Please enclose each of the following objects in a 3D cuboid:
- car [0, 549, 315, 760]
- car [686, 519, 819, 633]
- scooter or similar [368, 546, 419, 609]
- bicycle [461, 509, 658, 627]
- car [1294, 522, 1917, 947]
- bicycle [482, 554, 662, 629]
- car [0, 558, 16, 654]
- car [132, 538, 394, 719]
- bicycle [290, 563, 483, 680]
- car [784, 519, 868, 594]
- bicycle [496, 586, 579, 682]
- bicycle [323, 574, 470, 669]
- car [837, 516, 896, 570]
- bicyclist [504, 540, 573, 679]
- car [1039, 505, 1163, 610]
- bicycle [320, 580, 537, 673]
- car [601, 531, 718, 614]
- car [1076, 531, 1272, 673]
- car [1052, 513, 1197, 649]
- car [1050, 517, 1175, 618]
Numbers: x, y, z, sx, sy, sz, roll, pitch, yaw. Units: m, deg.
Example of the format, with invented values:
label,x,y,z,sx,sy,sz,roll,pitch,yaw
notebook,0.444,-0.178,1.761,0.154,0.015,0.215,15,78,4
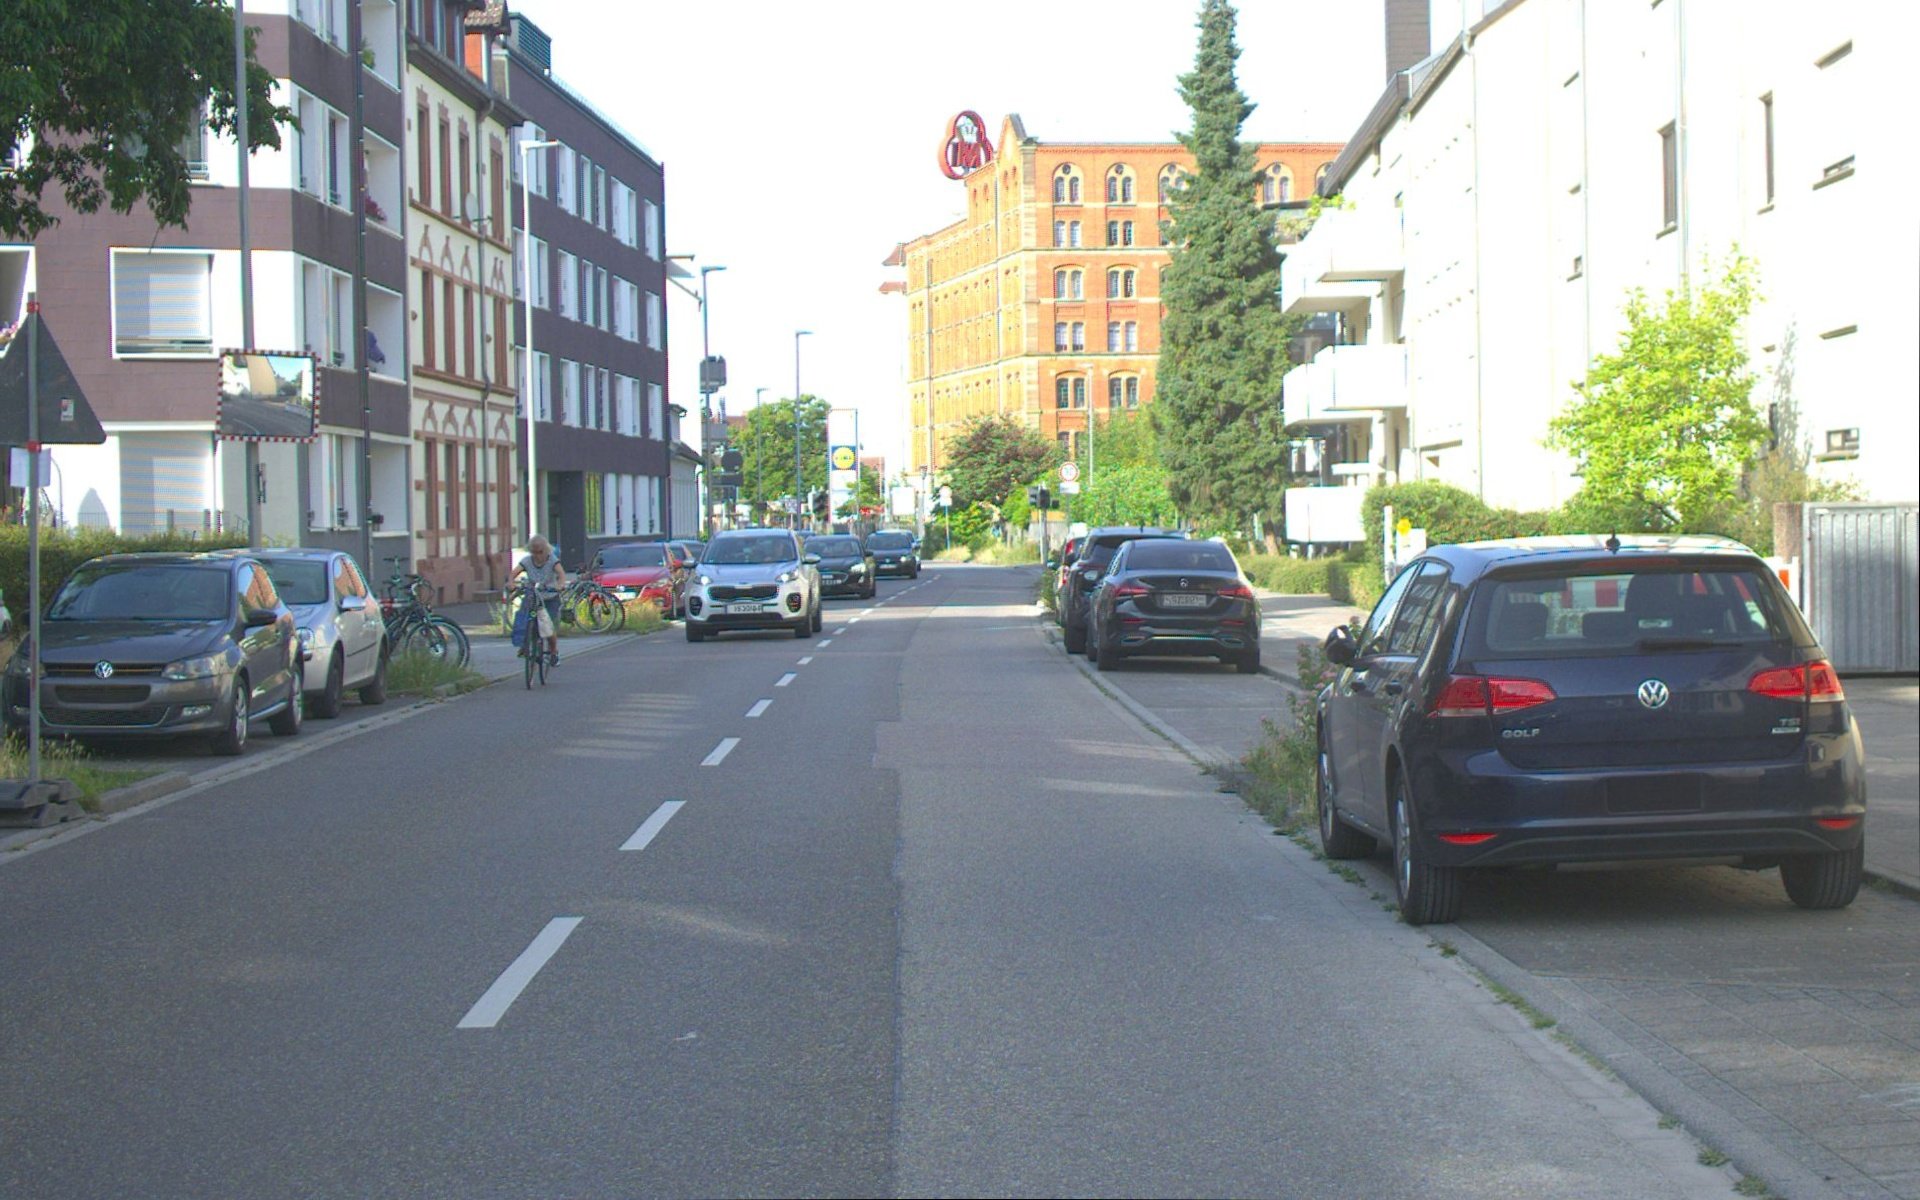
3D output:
label,x,y,z,sx,sy,sz,roll,pitch,yaw
car,-5.916,0.345,25.590,1.573,1.415,3.804,0,1,-1
car,-3.094,-0.393,51.863,1.763,1.610,4.000,-2,1,-1
scooter or similar,-10.190,-0.417,61.908,0.633,1.100,1.610,1,1,0
bicycle,-6.293,-0.506,54.164,2.918,1.771,1.202,-1,1,1
car,2.507,0.439,14.302,1.830,1.477,3.943,-2,1,0
bicycle,-6.299,-0.149,55.943,2.773,1.140,1.143,-1,1,1
car,-14.558,0.117,45.861,3.447,1.284,1.664,-2,1,-32
car,-6.229,0.205,31.091,1.676,1.496,4.001,-1,1,-2
bicycle,-6.217,0.226,37.338,2.000,1.213,0.708,-1,1,-6
car,-3.027,-1.005,78.222,1.763,1.610,4.000,-2,1,-1
bicycle,-4.411,0.345,35.999,0.608,0.939,1.811,-1,1,1
bicycle,-6.372,0.239,38.928,1.584,1.037,0.708,-1,1,-5
car,-2.936,-1.807,108.179,1.763,1.610,4.000,-2,1,-1
bicyclist,-4.421,0.095,36.065,0.591,1.437,0.750,-1,1,1
car,2.444,-0.764,60.382,1.993,1.766,4.000,-1,1,0
bicycle,-5.892,0.287,38.216,2.339,0.967,0.708,-1,1,-5
car,-5.544,-0.534,63.770,1.840,1.459,3.585,-1,1,0
car,2.360,-0.019,38.775,1.859,1.467,4.000,-1,1,-1
car,2.063,-0.268,43.965,1.601,1.640,3.685,-1,1,-1
car,2.456,-0.558,56.114,1.763,1.521,4.000,-2,1,-1
